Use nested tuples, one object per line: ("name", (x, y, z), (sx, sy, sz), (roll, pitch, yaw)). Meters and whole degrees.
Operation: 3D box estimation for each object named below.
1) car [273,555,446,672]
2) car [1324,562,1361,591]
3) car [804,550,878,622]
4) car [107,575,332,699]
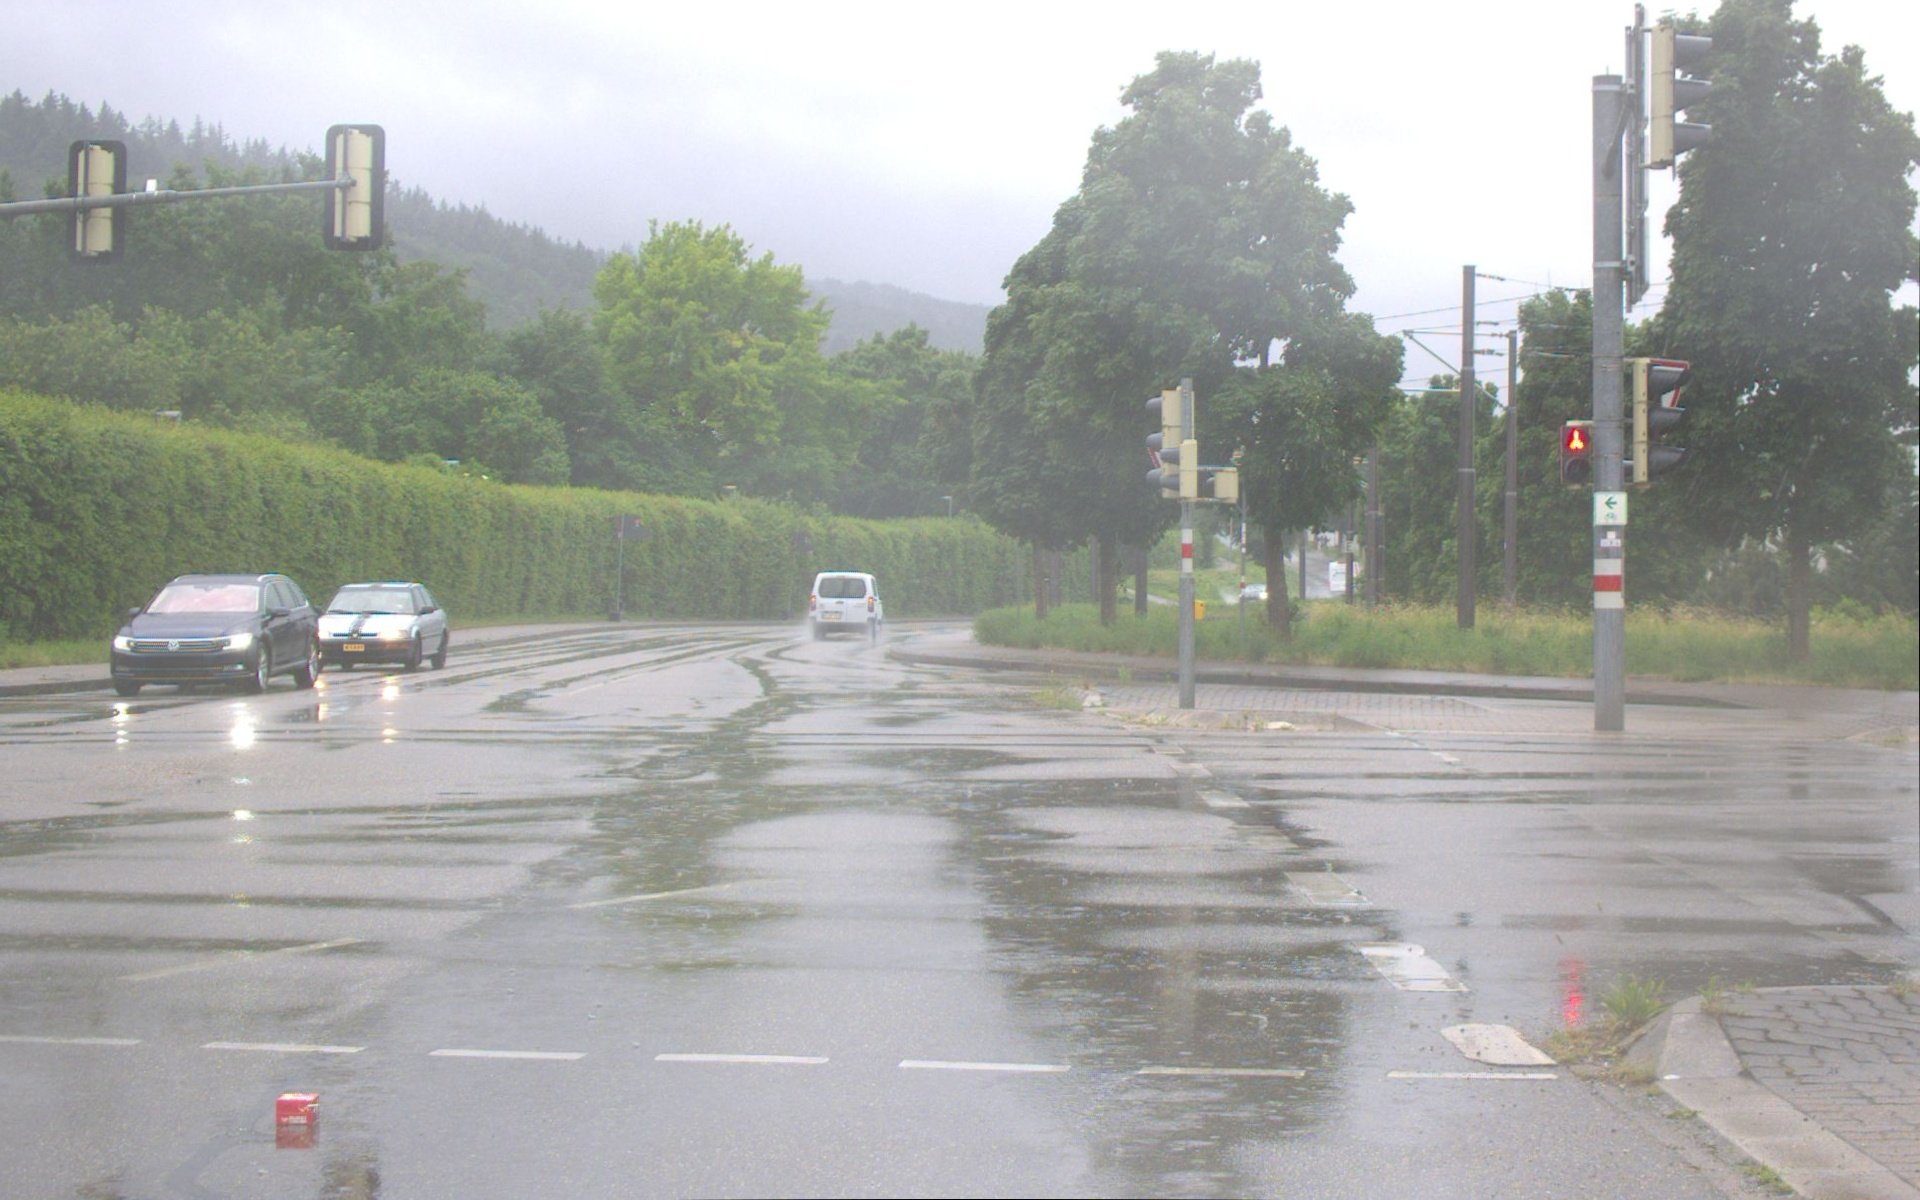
("car", (-9.342, 0.179, 53.777), (2.036, 1.702, 4.066), (1, 1, -1))
("car", (25.796, -1.586, 231.747), (1.933, 1.883, 4.059), (0, 1, 14))
("car", (-3.250, -0.409, 93.511), (1.953, 1.897, 4.120), (0, 1, -2))
("car", (-9.282, 0.430, 43.433), (1.709, 1.461, 4.452), (0, 1, 2))
